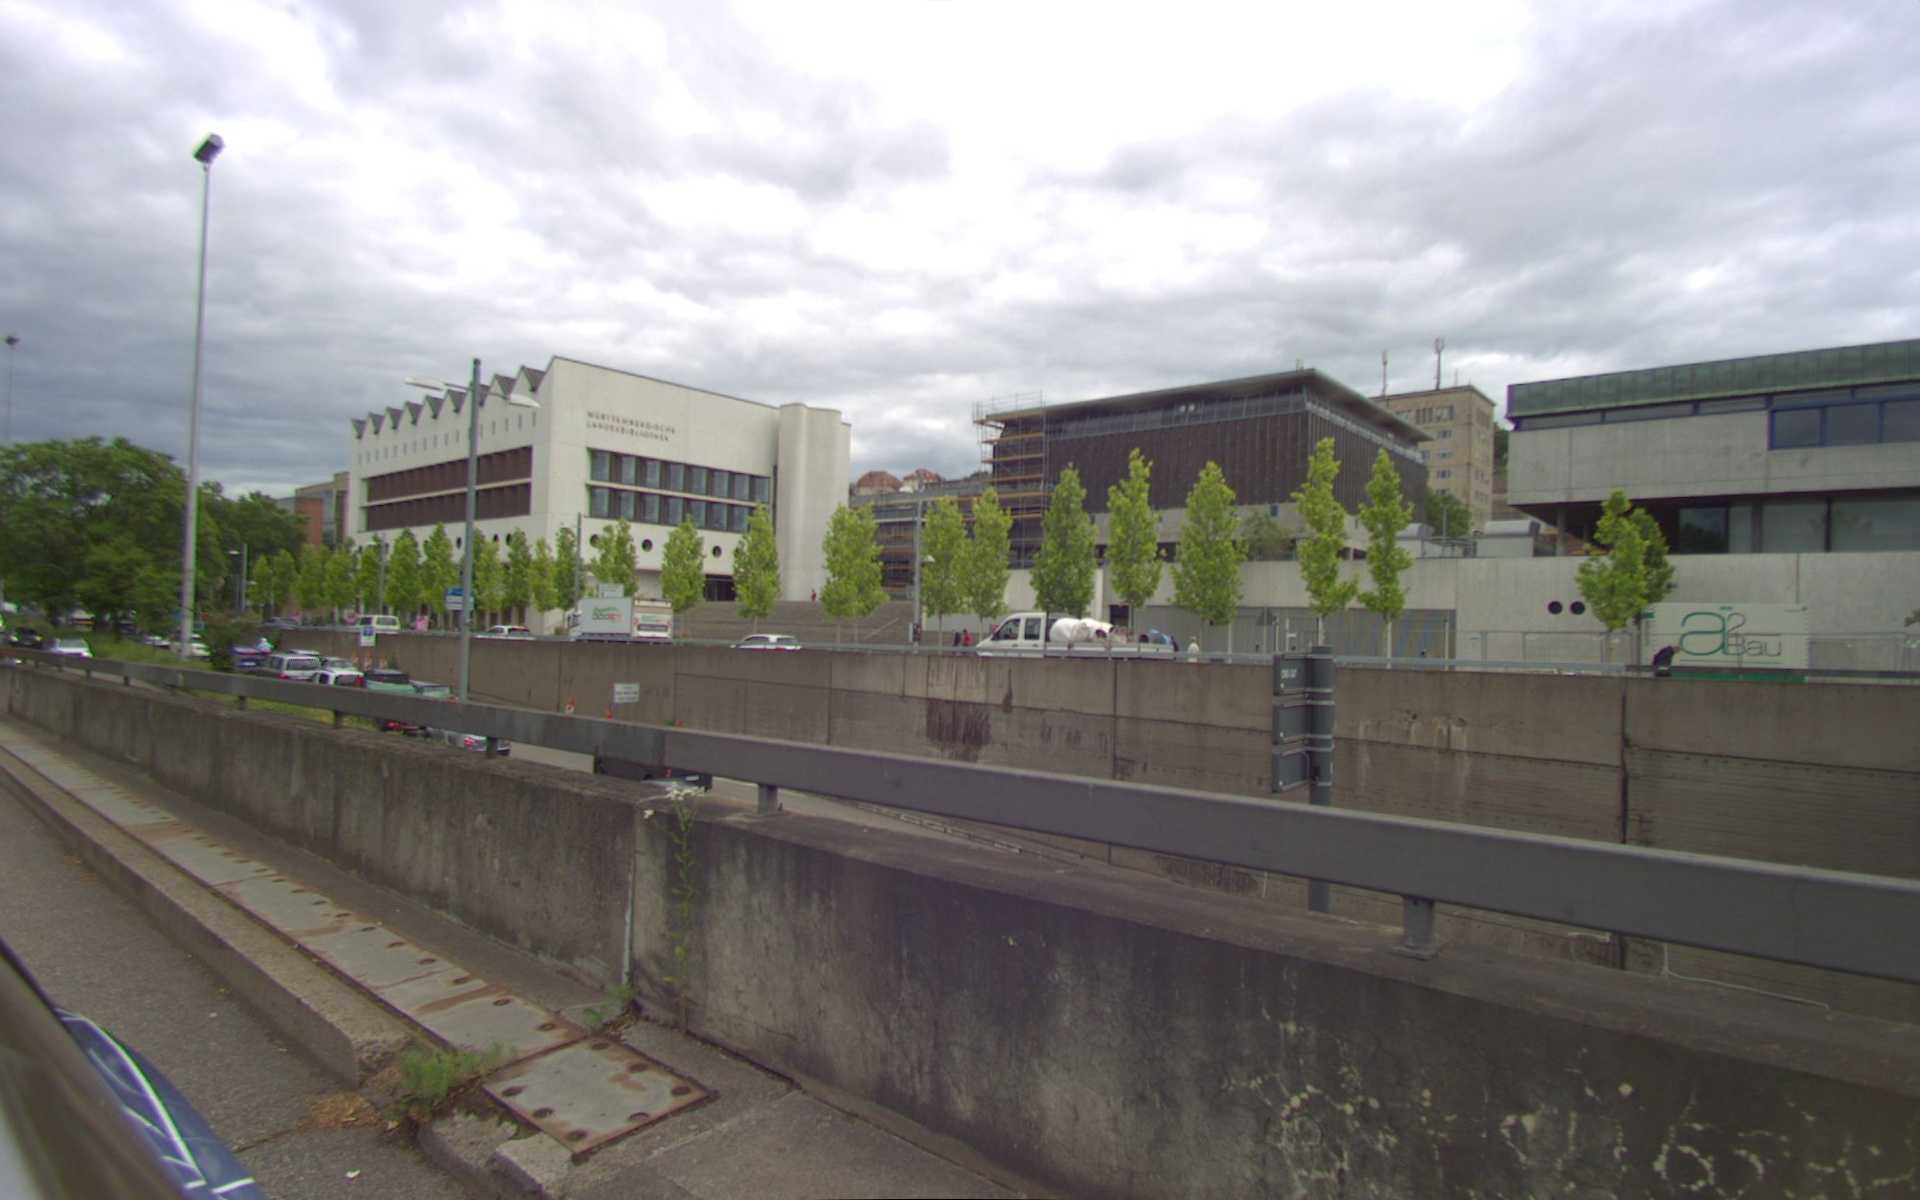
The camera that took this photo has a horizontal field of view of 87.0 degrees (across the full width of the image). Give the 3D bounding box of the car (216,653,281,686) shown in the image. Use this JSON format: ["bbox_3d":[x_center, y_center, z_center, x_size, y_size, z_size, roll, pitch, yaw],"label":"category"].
[{"bbox_3d":[-40.750,3.975,57.950,4.279,1.757,1.972,-2,-6,41],"label":"car"}]

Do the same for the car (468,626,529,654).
[{"bbox_3d":[-26.555,2.290,58.183,4.269,1.586,1.700,-2,-3,43],"label":"car"}]

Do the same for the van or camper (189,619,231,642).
[{"bbox_3d":[-68.141,2.787,91.899,4.552,2.029,1.974,-2,-3,39],"label":"van or camper"}]

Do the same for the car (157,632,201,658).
[{"bbox_3d":[-62.833,3.629,81.420,4.653,2.029,1.973,-2,-2,41],"label":"car"}]

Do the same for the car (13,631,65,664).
[{"bbox_3d":[-58.336,2.974,64.061,3.998,2.029,1.973,-2,-2,41],"label":"car"}]

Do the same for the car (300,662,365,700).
[{"bbox_3d":[-35.841,4.594,57.798,3.998,2.029,1.972,-2,-6,41],"label":"car"}]

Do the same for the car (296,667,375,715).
[{"bbox_3d":[-29.267,4.242,47.380,3.998,2.029,1.972,-2,-6,41],"label":"car"}]

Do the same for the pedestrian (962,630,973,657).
[{"bbox_3d":[0.414,2.486,57.692,0.461,1.533,0.377,-1,-1,35],"label":"pedestrian"}]

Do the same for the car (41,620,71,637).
[{"bbox_3d":[-82.958,2.624,92.896,3.360,1.497,1.653,-2,-2,41],"label":"car"}]

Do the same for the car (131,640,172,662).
[{"bbox_3d":[-57.264,3.593,71.663,3.360,1.497,1.653,-1,-3,41],"label":"car"}]

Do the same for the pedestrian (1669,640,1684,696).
[{"bbox_3d":[19.807,1.874,27.971,0.316,1.533,0.314,-1,-1,35],"label":"pedestrian"}]

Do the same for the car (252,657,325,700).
[{"bbox_3d":[-34.487,4.022,51.935,4.330,2.029,1.972,-2,-6,41],"label":"car"}]

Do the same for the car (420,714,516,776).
[{"bbox_3d":[-18.169,5.288,37.341,3.925,1.830,1.771,-2,-2,41],"label":"car"}]

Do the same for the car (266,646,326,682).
[{"bbox_3d":[-40.349,3.894,61.478,3.998,2.029,1.972,-2,-6,41],"label":"car"}]

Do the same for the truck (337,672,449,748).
[{"bbox_3d":[-23.702,4.482,42.194,5.977,2.712,2.294,-2,-2,42],"label":"truck"}]

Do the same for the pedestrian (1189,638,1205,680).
[{"bbox_3d":[8.837,2.200,37.757,0.461,1.533,0.424,-1,-1,35],"label":"pedestrian"}]

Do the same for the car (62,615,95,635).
[{"bbox_3d":[-89.323,2.533,102.483,3.998,2.029,1.973,-1,-1,41],"label":"car"}]

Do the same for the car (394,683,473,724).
[{"bbox_3d":[-24.800,4.835,47.622,3.998,1.564,1.973,-1,-1,41],"label":"car"}]

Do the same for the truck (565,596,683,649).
[{"bbox_3d":[-19.030,1.316,57.114,7.251,2.809,3.196,-2,-3,42],"label":"truck"}]

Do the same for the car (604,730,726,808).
[{"bbox_3d":[-9.944,5.574,33.974,4.227,1.970,1.973,-1,-1,41],"label":"car"}]

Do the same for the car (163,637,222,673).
[{"bbox_3d":[-49.444,3.512,65.125,4.849,2.148,1.972,-2,-6,41],"label":"car"}]

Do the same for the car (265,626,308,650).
[{"bbox_3d":[-54.605,3.085,82.026,3.998,1.830,1.973,-2,-3,41],"label":"car"}]

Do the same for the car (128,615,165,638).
[{"bbox_3d":[-78.488,2.592,97.643,3.998,2.029,1.972,-2,-6,41],"label":"car"}]

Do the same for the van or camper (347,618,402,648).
[{"bbox_3d":[-40.669,2.285,70.240,4.555,2.029,1.973,-2,-3,41],"label":"van or camper"}]

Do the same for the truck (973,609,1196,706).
[{"bbox_3d":[3.854,1.806,32.798,7.077,2.838,2.437,-2,-3,43],"label":"truck"}]

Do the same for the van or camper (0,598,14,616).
[{"bbox_3d":[-113.816,0.813,119.997,3.998,2.029,2.010,-2,-2,41],"label":"van or camper"}]

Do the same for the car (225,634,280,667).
[{"bbox_3d":[-46.321,3.279,66.223,3.998,2.029,1.972,-2,-6,41],"label":"car"}]

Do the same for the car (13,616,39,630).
[{"bbox_3d":[-100.087,2.478,108.428,3.360,1.497,1.653,-2,-2,41],"label":"car"}]

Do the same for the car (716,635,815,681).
[{"bbox_3d":[-8.339,2.453,43.234,4.256,1.830,1.973,-2,-3,41],"label":"car"}]

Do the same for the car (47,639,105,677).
[{"bbox_3d":[-51.379,3.363,58.784,3.999,2.029,1.972,0,-3,42],"label":"car"}]
